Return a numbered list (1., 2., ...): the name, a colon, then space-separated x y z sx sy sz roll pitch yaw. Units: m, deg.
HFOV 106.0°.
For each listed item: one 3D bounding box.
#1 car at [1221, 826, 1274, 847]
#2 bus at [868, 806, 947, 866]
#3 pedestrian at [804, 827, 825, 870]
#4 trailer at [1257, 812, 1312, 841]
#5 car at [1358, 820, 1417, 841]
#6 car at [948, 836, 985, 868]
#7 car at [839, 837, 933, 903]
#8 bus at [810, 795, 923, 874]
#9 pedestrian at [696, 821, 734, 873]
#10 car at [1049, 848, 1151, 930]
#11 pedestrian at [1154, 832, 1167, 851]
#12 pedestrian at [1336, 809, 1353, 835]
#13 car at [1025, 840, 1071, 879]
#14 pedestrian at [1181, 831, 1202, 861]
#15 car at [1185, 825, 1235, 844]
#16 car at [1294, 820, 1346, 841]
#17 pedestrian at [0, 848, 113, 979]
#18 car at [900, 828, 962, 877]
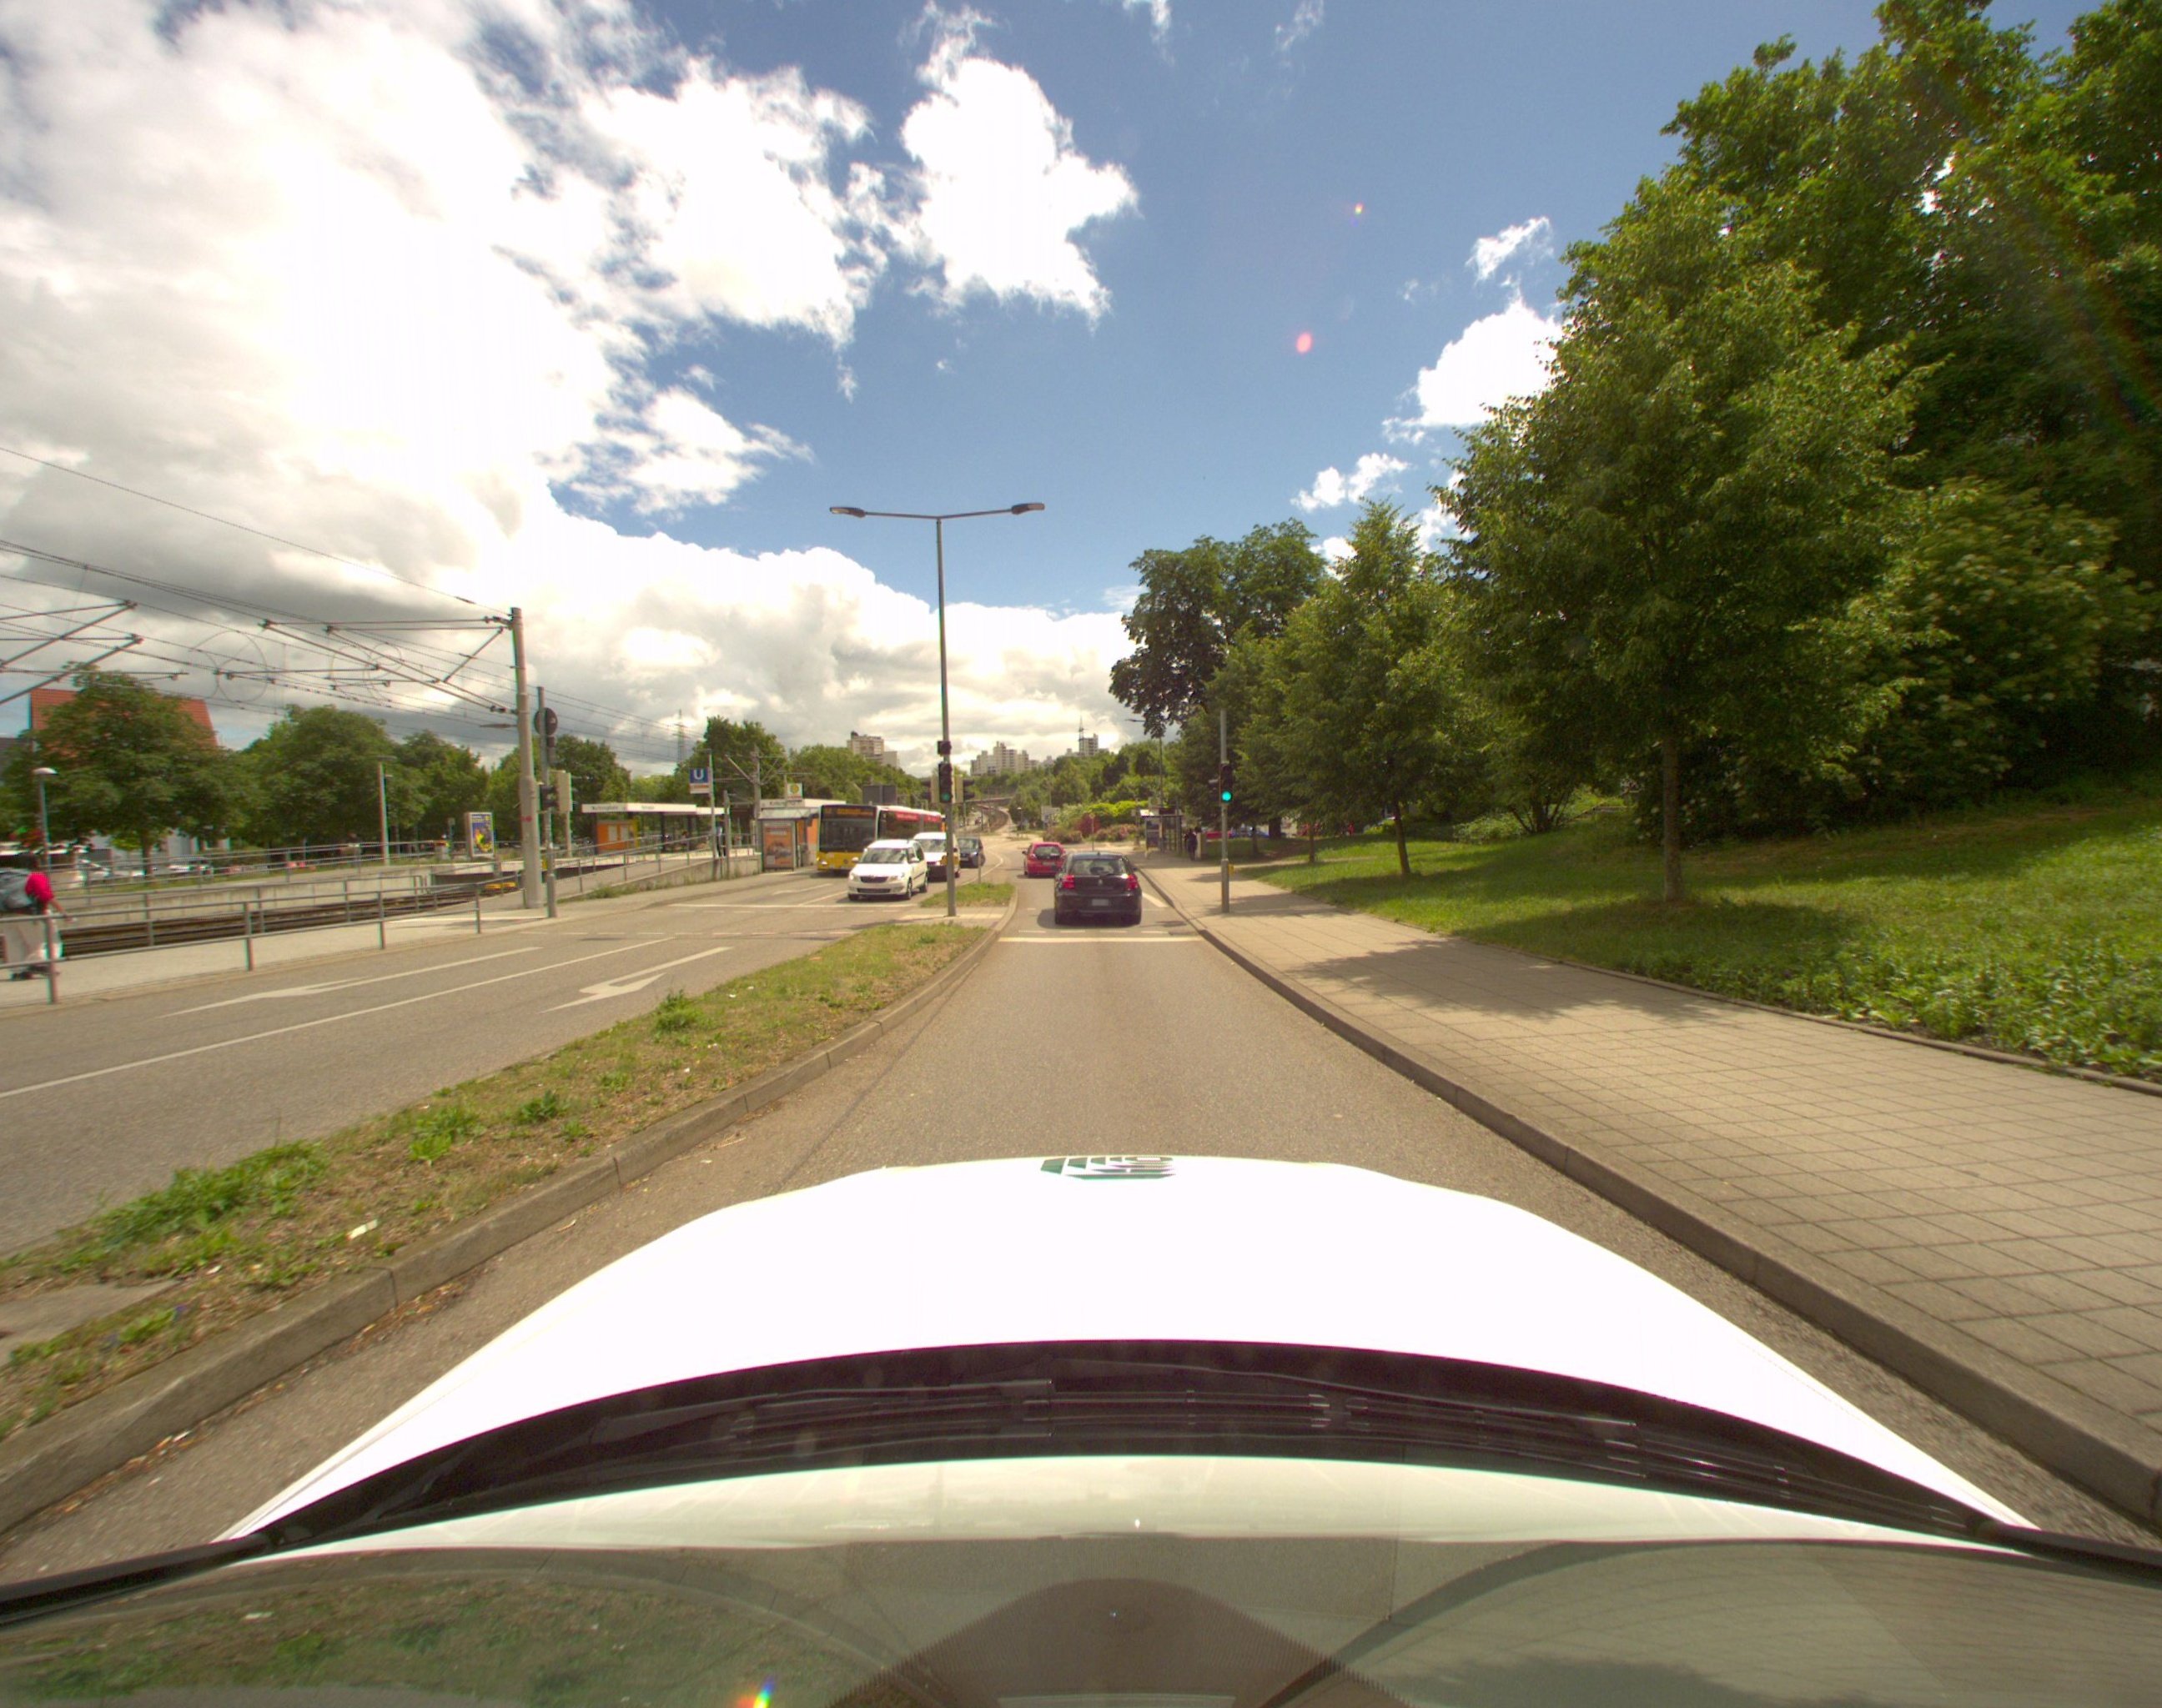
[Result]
1. car: 13.536 -1.473 66.217 3.787 1.456 1.894 -3 3 -5
2. bus: -9.688 -1.115 46.458 2.718 3.069 8.960 -1 2 -1
3. pedestrian: -12.707 -0.266 38.854 0.701 2.013 0.826 -2 1 -6
4. trailer: 18.961 -2.584 75.876 4.528 2.486 2.219 -1 3 -4
5. car: 25.299 -1.947 67.284 4.073 1.559 1.996 -2 2 -6
6. car: -5.914 -0.145 42.281 1.526 1.551 3.729 0 1 -3
7. car: -5.429 0.376 23.157 1.694 1.648 4.078 -1 2 0
8. bus: -9.433 -0.855 37.057 2.718 3.109 9.699 -1 1 -1
9. pedestrian: -14.649 -0.299 32.658 0.967 2.013 1.029 -2 1 1
10. car: 0.282 0.634 17.268 1.811 1.420 3.996 -2 1 -3
11. pedestrian: 5.353 -0.863 54.798 0.824 1.258 0.686 -2 2 0
12. pedestrian: 18.069 -2.194 55.844 0.980 1.760 0.860 -2 1 8
13. car: -1.416 0.178 33.862 1.763 1.432 3.473 -2 2 -5
14. pedestrian: 5.336 -0.401 39.369 0.817 1.424 0.829 -2 1 -2
15. car: 11.849 -1.825 75.086 4.153 1.561 1.996 -2 4 -8
16. car: 19.549 -1.950 66.614 3.680 1.643 1.827 -1 3 -5
17. pedestrian: -12.817 0.702 10.022 0.798 1.540 0.834 1 0 -4
18. car: -5.671 -0.014 31.209 1.758 1.663 4.499 -2 -1 -4
